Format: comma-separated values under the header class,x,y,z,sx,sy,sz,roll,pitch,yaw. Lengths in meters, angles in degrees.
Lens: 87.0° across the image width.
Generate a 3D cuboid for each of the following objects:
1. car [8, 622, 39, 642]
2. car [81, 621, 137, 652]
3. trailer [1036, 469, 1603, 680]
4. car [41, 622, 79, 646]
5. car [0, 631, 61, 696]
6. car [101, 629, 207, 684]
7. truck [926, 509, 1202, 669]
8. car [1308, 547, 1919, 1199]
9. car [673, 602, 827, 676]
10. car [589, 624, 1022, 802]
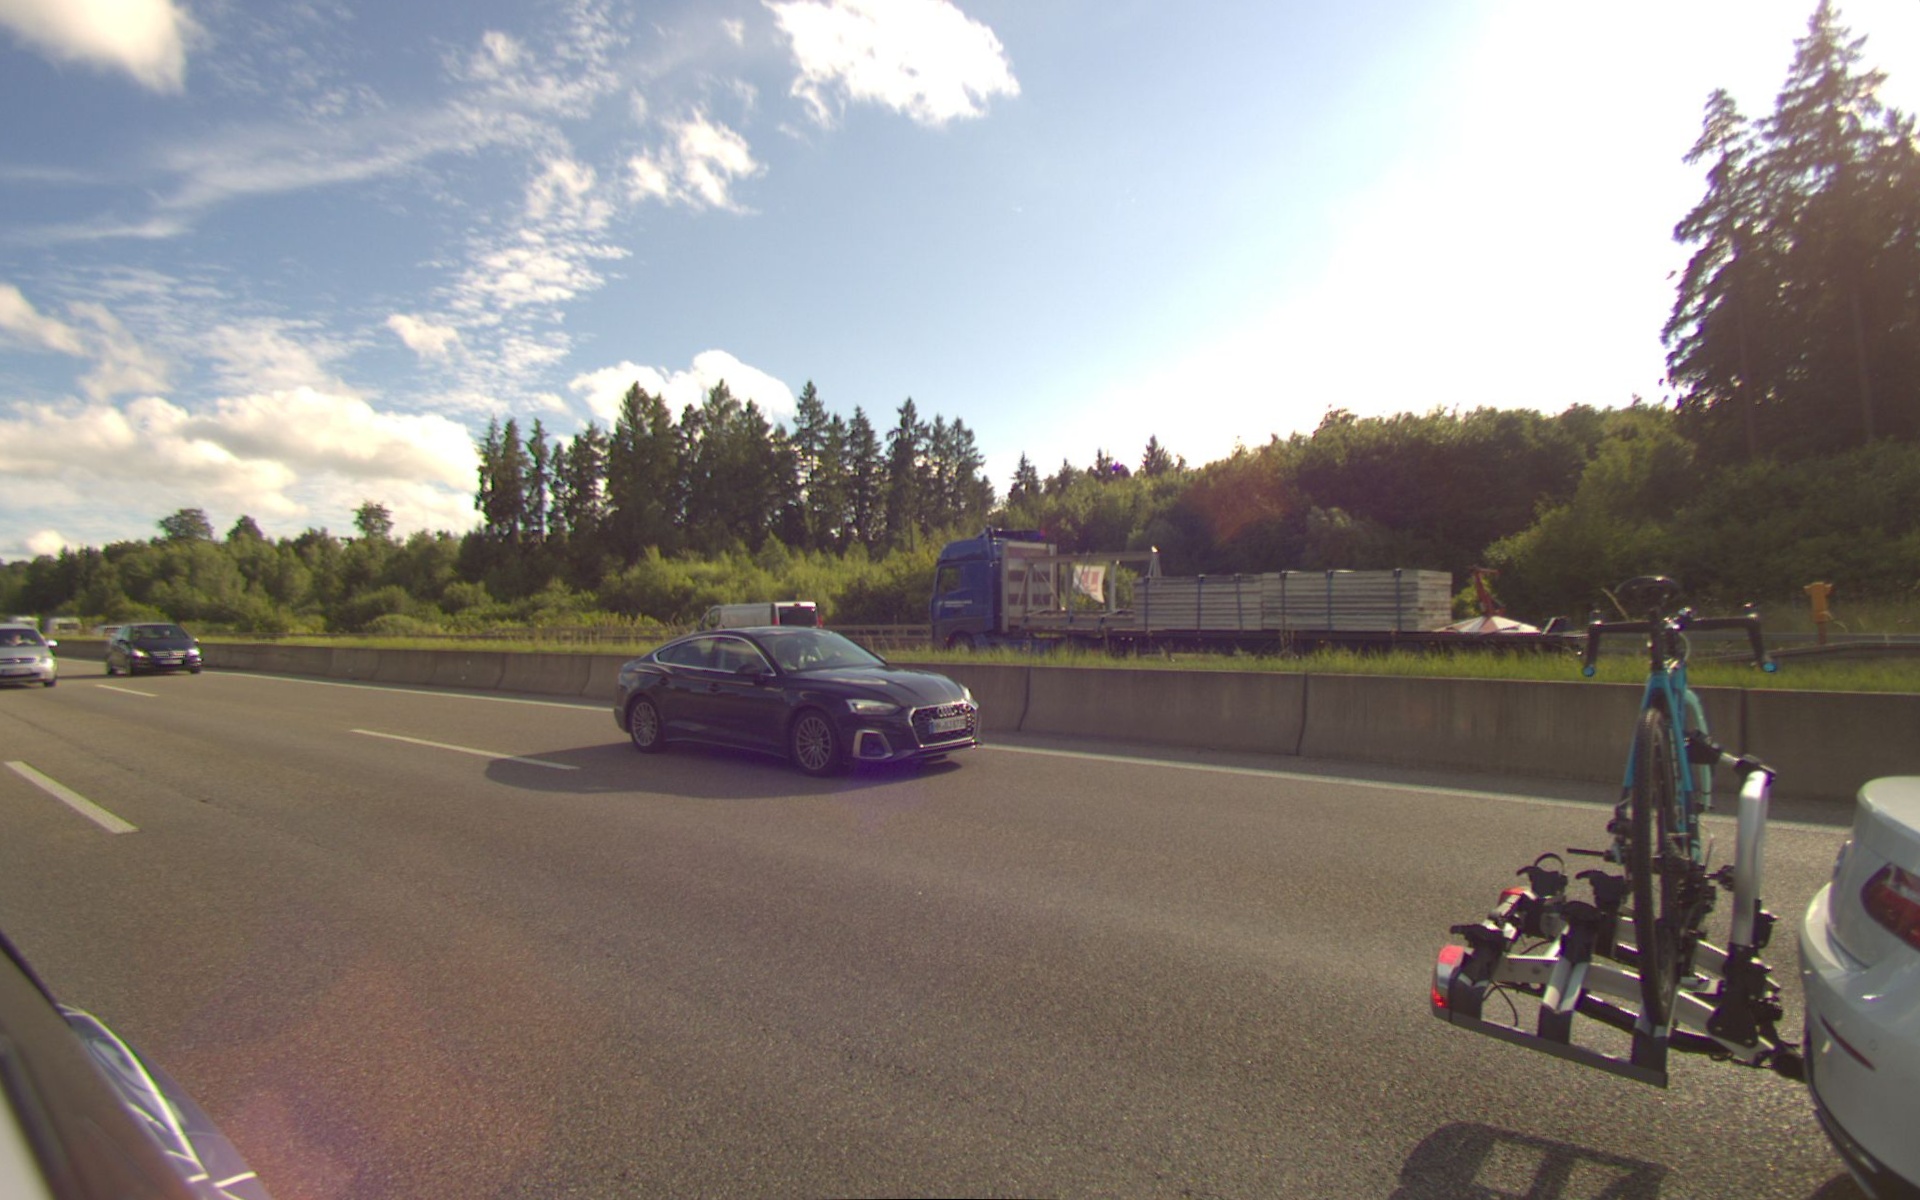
class,x,y,z,sx,sy,sz,roll,pitch,yaw
car,-130.741,4.467,141.237,5.841,2.494,2.518,-2,1,41
car,-58.449,2.507,69.481,5.281,1.939,2.075,-2,1,41
trailer,7.635,-0.323,23.739,12.202,3.867,3.092,-2,-1,41
car,-90.227,3.403,101.472,5.443,2.292,2.075,-2,1,41
car,-24.287,1.567,25.603,4.331,1.529,1.816,-2,-1,41
car,-24.797,1.685,31.094,4.331,1.529,1.816,-2,-1,41
truck,2.714,-0.182,28.042,7.119,3.867,3.082,-2,-1,41
car,3.630,0.626,1.212,5.733,1.511,2.038,-2,-1,41
car,-6.306,1.131,30.041,4.857,2.029,1.972,-2,-1,42
car,-1.825,1.005,10.669,4.839,1.442,1.836,-2,-1,41
